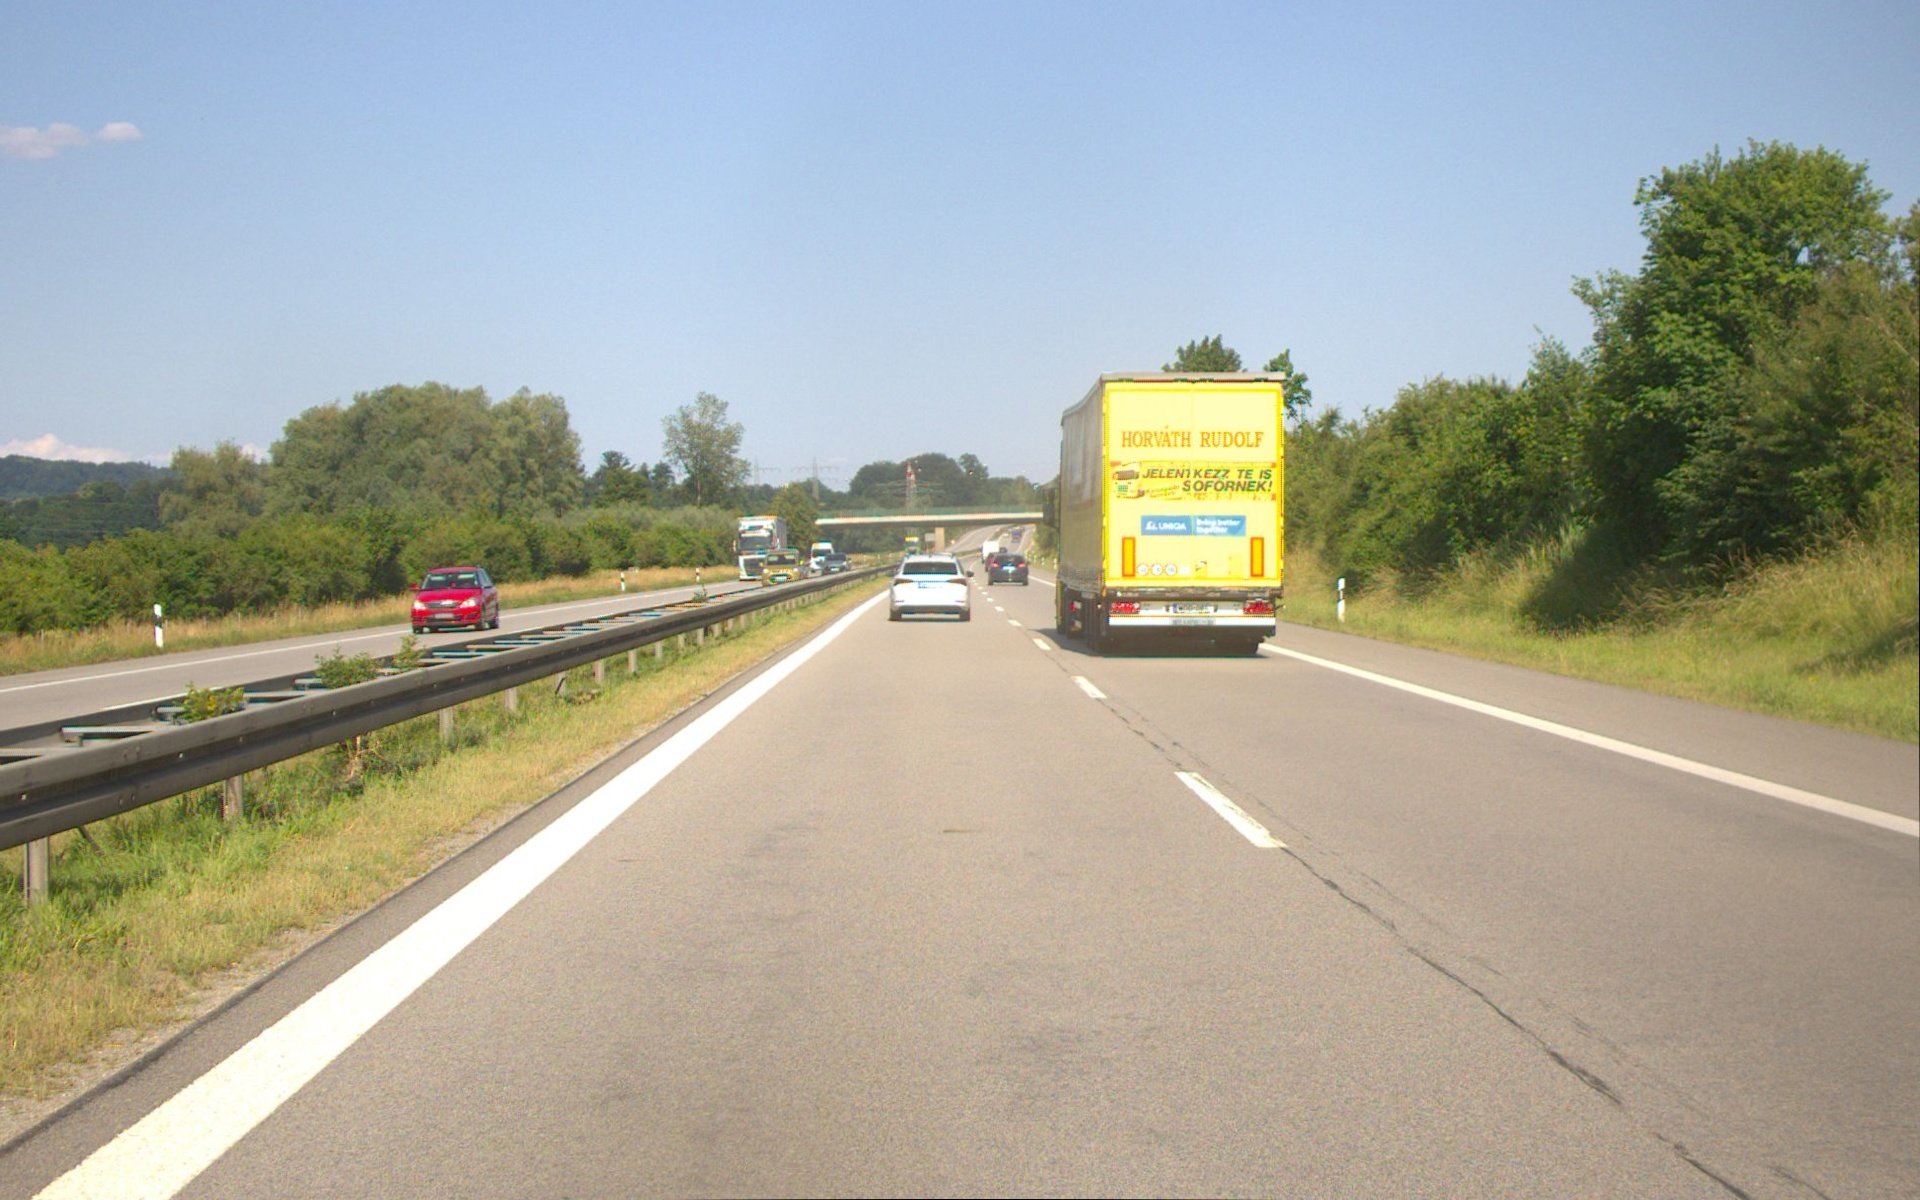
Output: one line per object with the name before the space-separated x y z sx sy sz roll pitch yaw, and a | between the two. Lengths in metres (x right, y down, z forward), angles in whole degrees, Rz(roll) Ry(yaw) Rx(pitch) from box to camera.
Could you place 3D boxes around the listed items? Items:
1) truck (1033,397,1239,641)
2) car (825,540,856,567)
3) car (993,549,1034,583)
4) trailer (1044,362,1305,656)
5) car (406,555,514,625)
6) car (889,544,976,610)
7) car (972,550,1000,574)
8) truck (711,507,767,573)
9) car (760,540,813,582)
truck | 3.060 -1.423 61.669 3.168 4.100 6.389 1 1 -1
car | -7.668 -2.991 220.789 1.725 1.577 4.767 -4 1 0
car | 2.434 -1.552 158.257 1.843 1.515 4.000 1 1 0
trailer | 3.155 -1.347 54.587 3.184 4.045 13.187 1 1 0
car | -11.556 -0.245 79.744 1.730 1.506 4.479 -3 1 1
car | -0.590 -0.519 76.289 1.843 1.411 4.000 1 1 0
car | 1.962 -2.889 261.105 1.902 1.677 4.731 2 1 -1
truck | -14.252 -3.854 222.354 3.168 4.100 6.389 -3 1 -1
car | -8.015 -1.818 159.259 1.950 1.765 4.748 -4 1 1
